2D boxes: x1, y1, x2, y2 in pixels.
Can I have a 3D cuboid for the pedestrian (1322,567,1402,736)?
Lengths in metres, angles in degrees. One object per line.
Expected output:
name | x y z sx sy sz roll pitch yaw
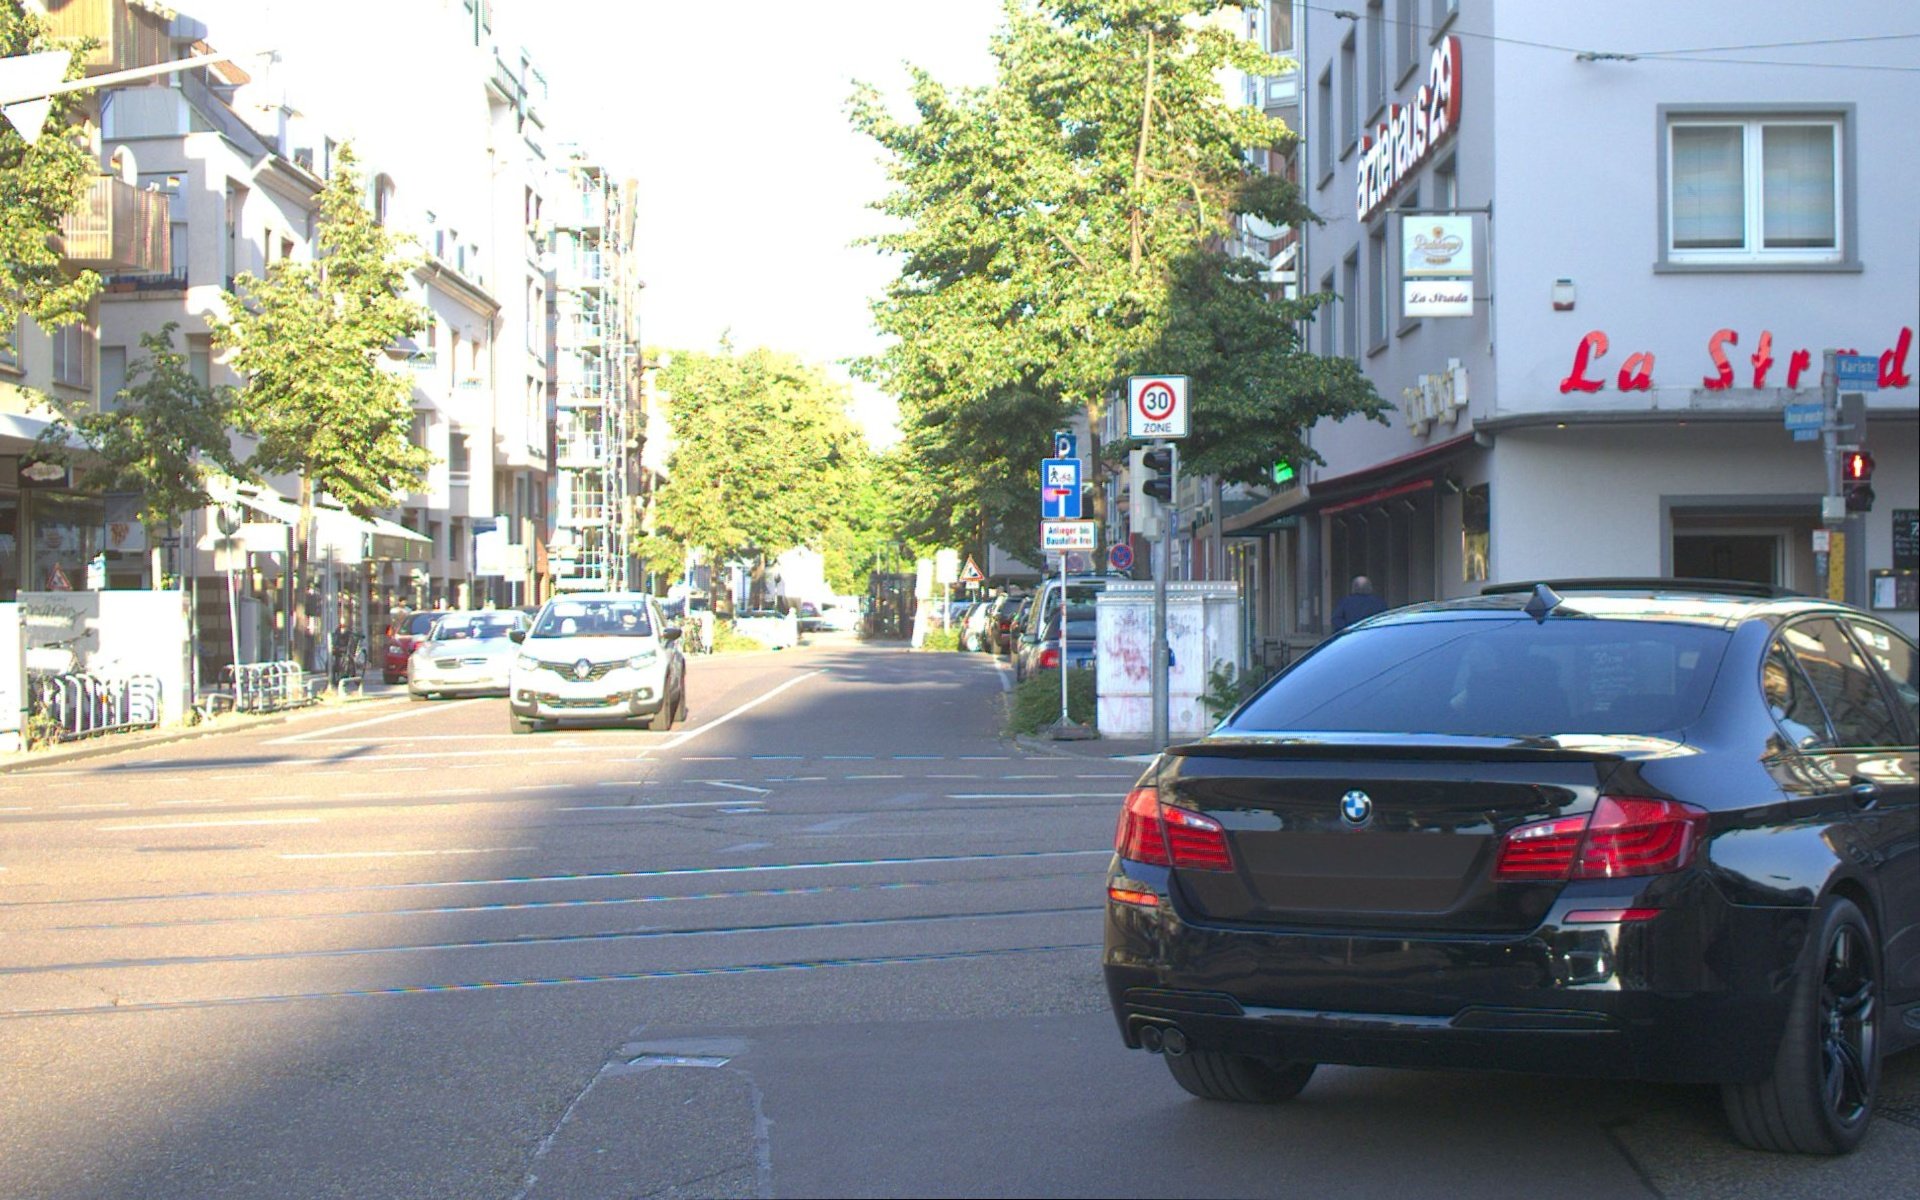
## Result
pedestrian | 4.009 0.509 34.357 0.711 1.671 0.703 0 0 0

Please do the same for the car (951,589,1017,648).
car | 0.761 0.560 106.527 1.851 1.788 4.000 -1 0 3

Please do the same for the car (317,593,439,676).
car | -11.408 0.682 67.569 1.834 1.551 3.780 -1 -1 -2

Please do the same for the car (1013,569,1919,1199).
car | 2.096 0.683 10.153 1.957 1.493 4.457 1 1 30

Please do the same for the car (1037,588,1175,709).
car | 1.813 0.577 42.563 1.640 1.439 3.606 0 0 3

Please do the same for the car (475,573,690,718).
car | -4.288 0.517 39.624 2.108 1.551 4.013 -1 -1 -2

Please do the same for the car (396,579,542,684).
car | -7.808 0.487 54.938 1.834 1.551 3.780 -2 0 -2

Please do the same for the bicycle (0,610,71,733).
bicycle | -10.512 0.719 35.721 2.366 1.248 0.640 1 -1 -4

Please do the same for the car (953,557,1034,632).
car | 0.871 -0.133 86.086 1.851 1.788 4.000 1 0 3

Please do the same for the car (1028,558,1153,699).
car | 1.879 0.375 49.168 1.640 1.867 3.606 3 1 3
